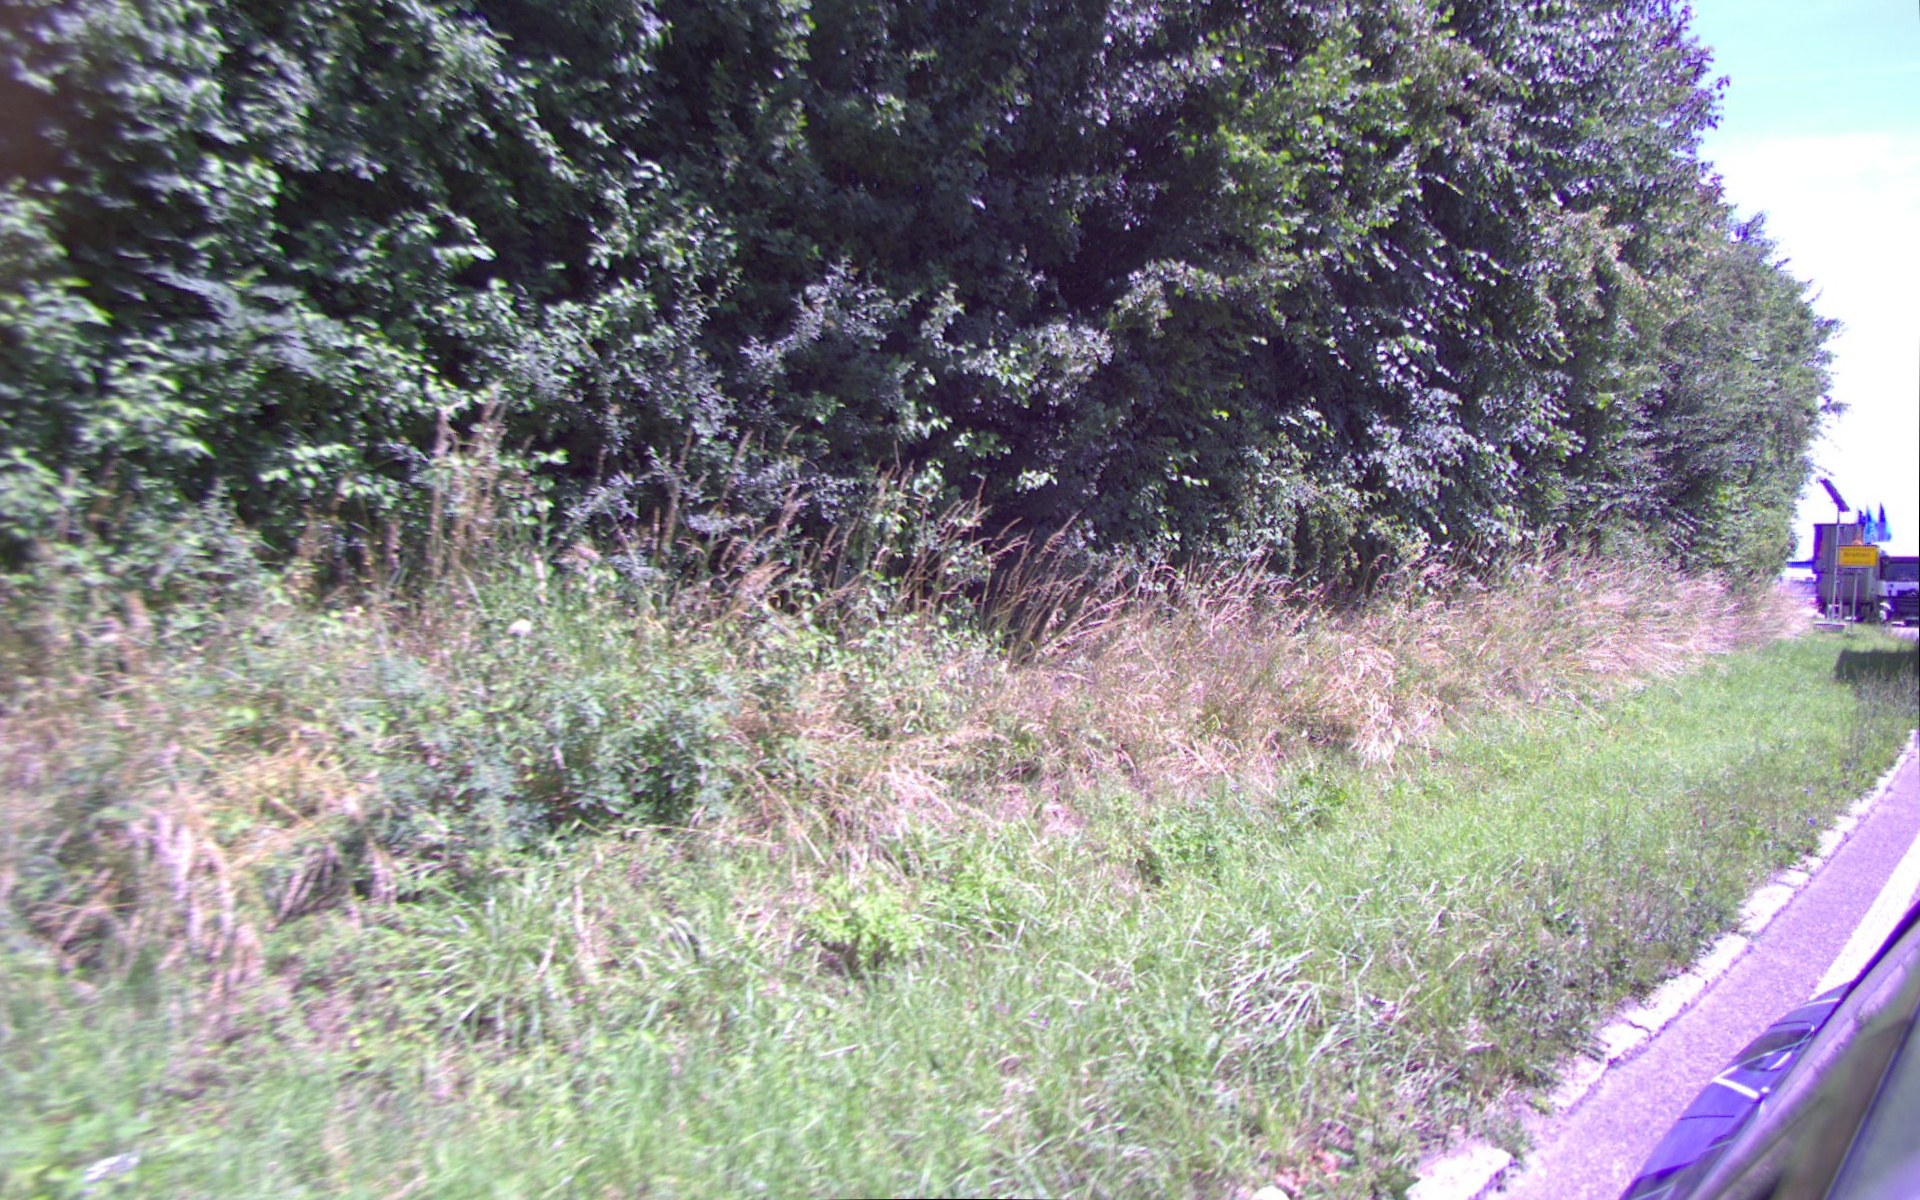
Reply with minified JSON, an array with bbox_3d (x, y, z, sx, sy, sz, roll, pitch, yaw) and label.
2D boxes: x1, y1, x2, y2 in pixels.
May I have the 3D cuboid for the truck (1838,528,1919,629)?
[{"bbox_3d":[48.093,-1.239,51.802,2.963,4.527,16.251,0,2,35],"label":"truck"}]
